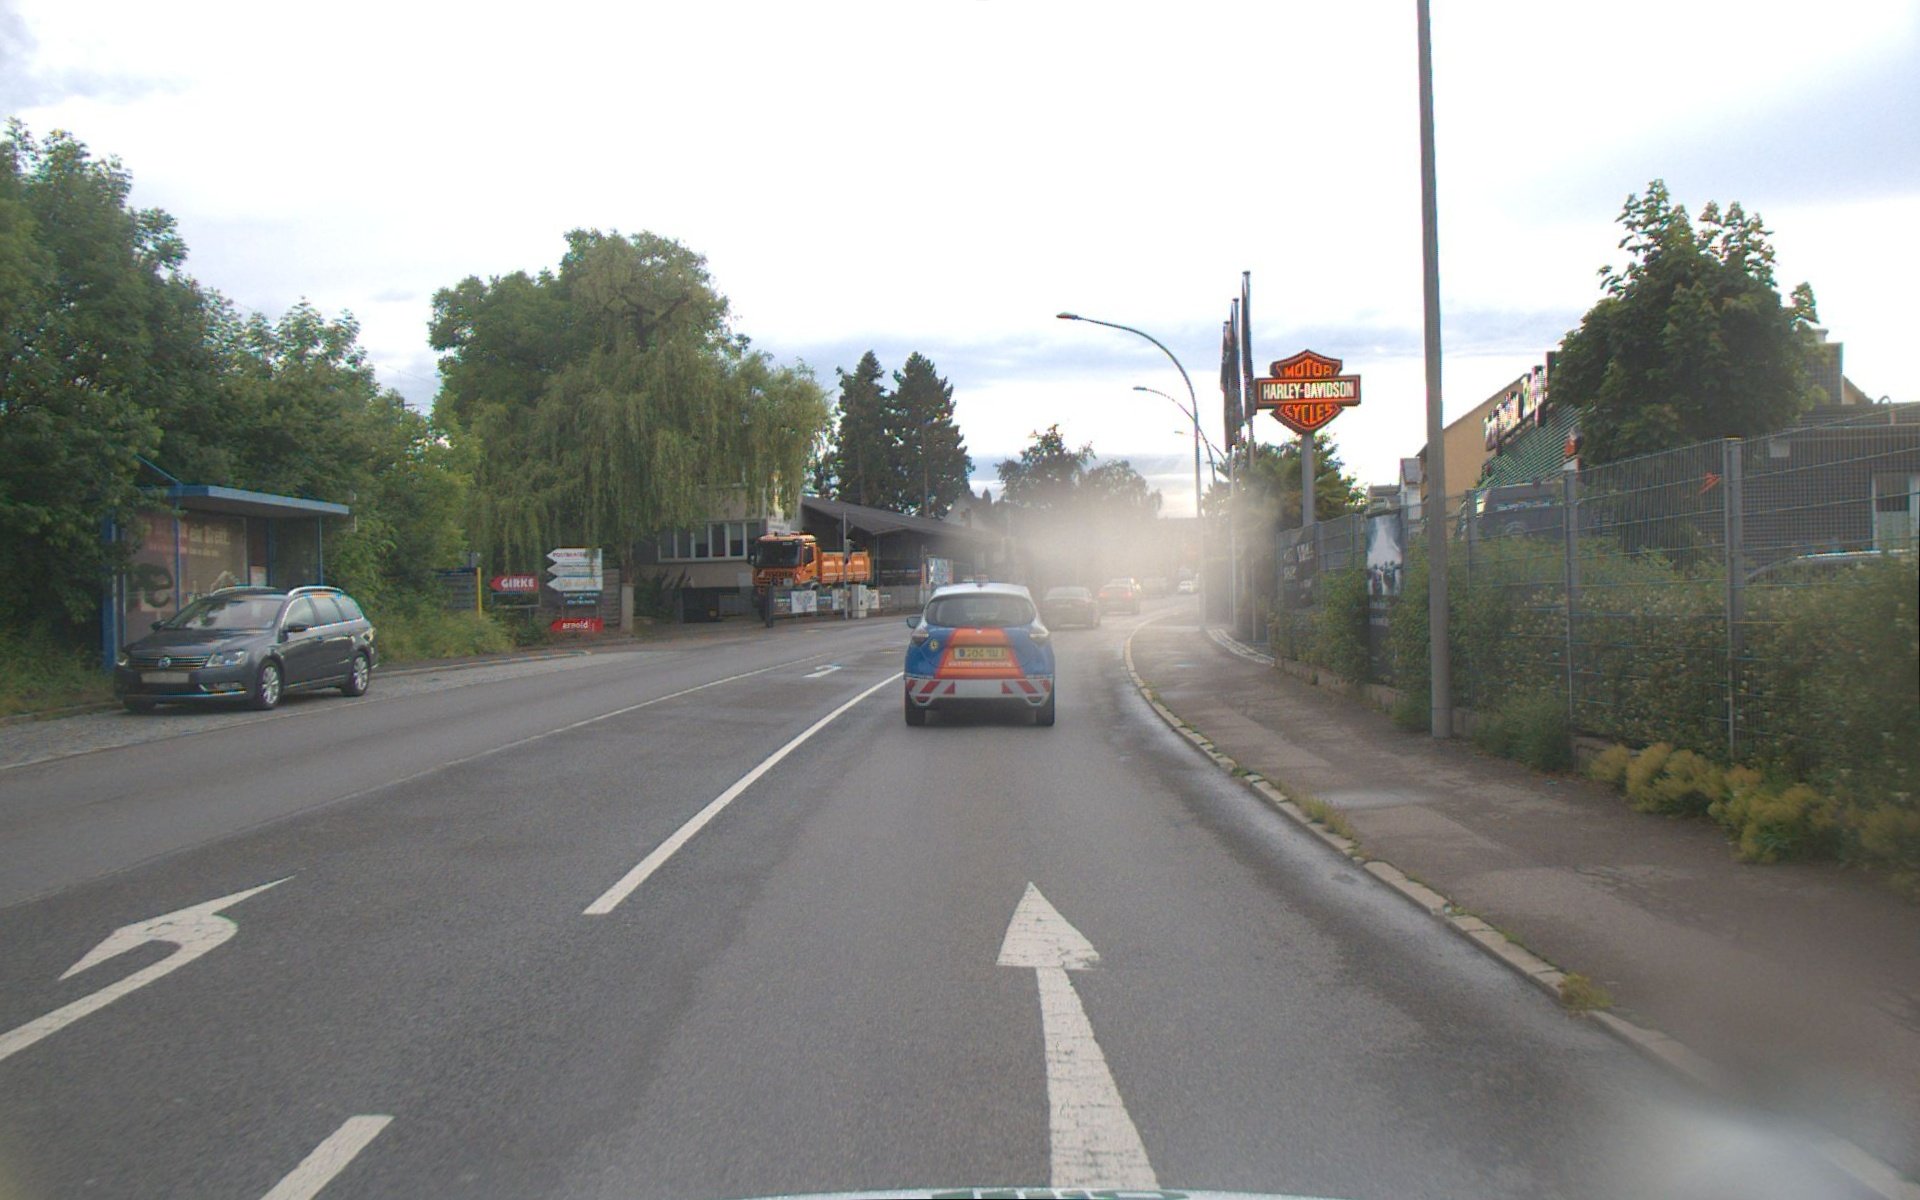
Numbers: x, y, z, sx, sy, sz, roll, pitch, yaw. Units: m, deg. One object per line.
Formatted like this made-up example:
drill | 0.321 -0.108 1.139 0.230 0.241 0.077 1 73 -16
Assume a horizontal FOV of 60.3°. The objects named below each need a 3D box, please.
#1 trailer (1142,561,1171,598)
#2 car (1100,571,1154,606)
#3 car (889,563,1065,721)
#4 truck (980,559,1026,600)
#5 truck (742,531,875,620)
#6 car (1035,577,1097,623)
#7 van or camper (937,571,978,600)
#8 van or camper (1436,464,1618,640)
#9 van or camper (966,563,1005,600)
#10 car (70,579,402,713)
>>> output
trailer | 18.917 -1.976 158.800 2.182 2.036 4.451 -18 10 12
car | 7.687 -0.511 75.869 1.951 1.445 4.003 1 -1 13
car | 0.178 0.424 19.698 1.850 1.660 4.000 -1 1 0
truck | 3.297 -1.499 124.394 2.343 2.978 5.962 1 0 12
truck | -6.364 -0.932 71.187 2.640 3.471 9.077 1 -1 15
car | 3.440 0.038 54.446 1.685 1.400 3.932 1 -1 -1
van or camper | -0.163 -0.967 112.233 1.951 1.942 4.476 1 0 10
van or camper | 9.631 -0.782 28.637 1.997 2.638 6.596 -2 1 11
van or camper | 1.854 -1.301 118.848 1.819 2.480 5.238 2 -1 11
car | -9.128 0.573 21.387 1.952 1.500 4.702 1 -1 4
